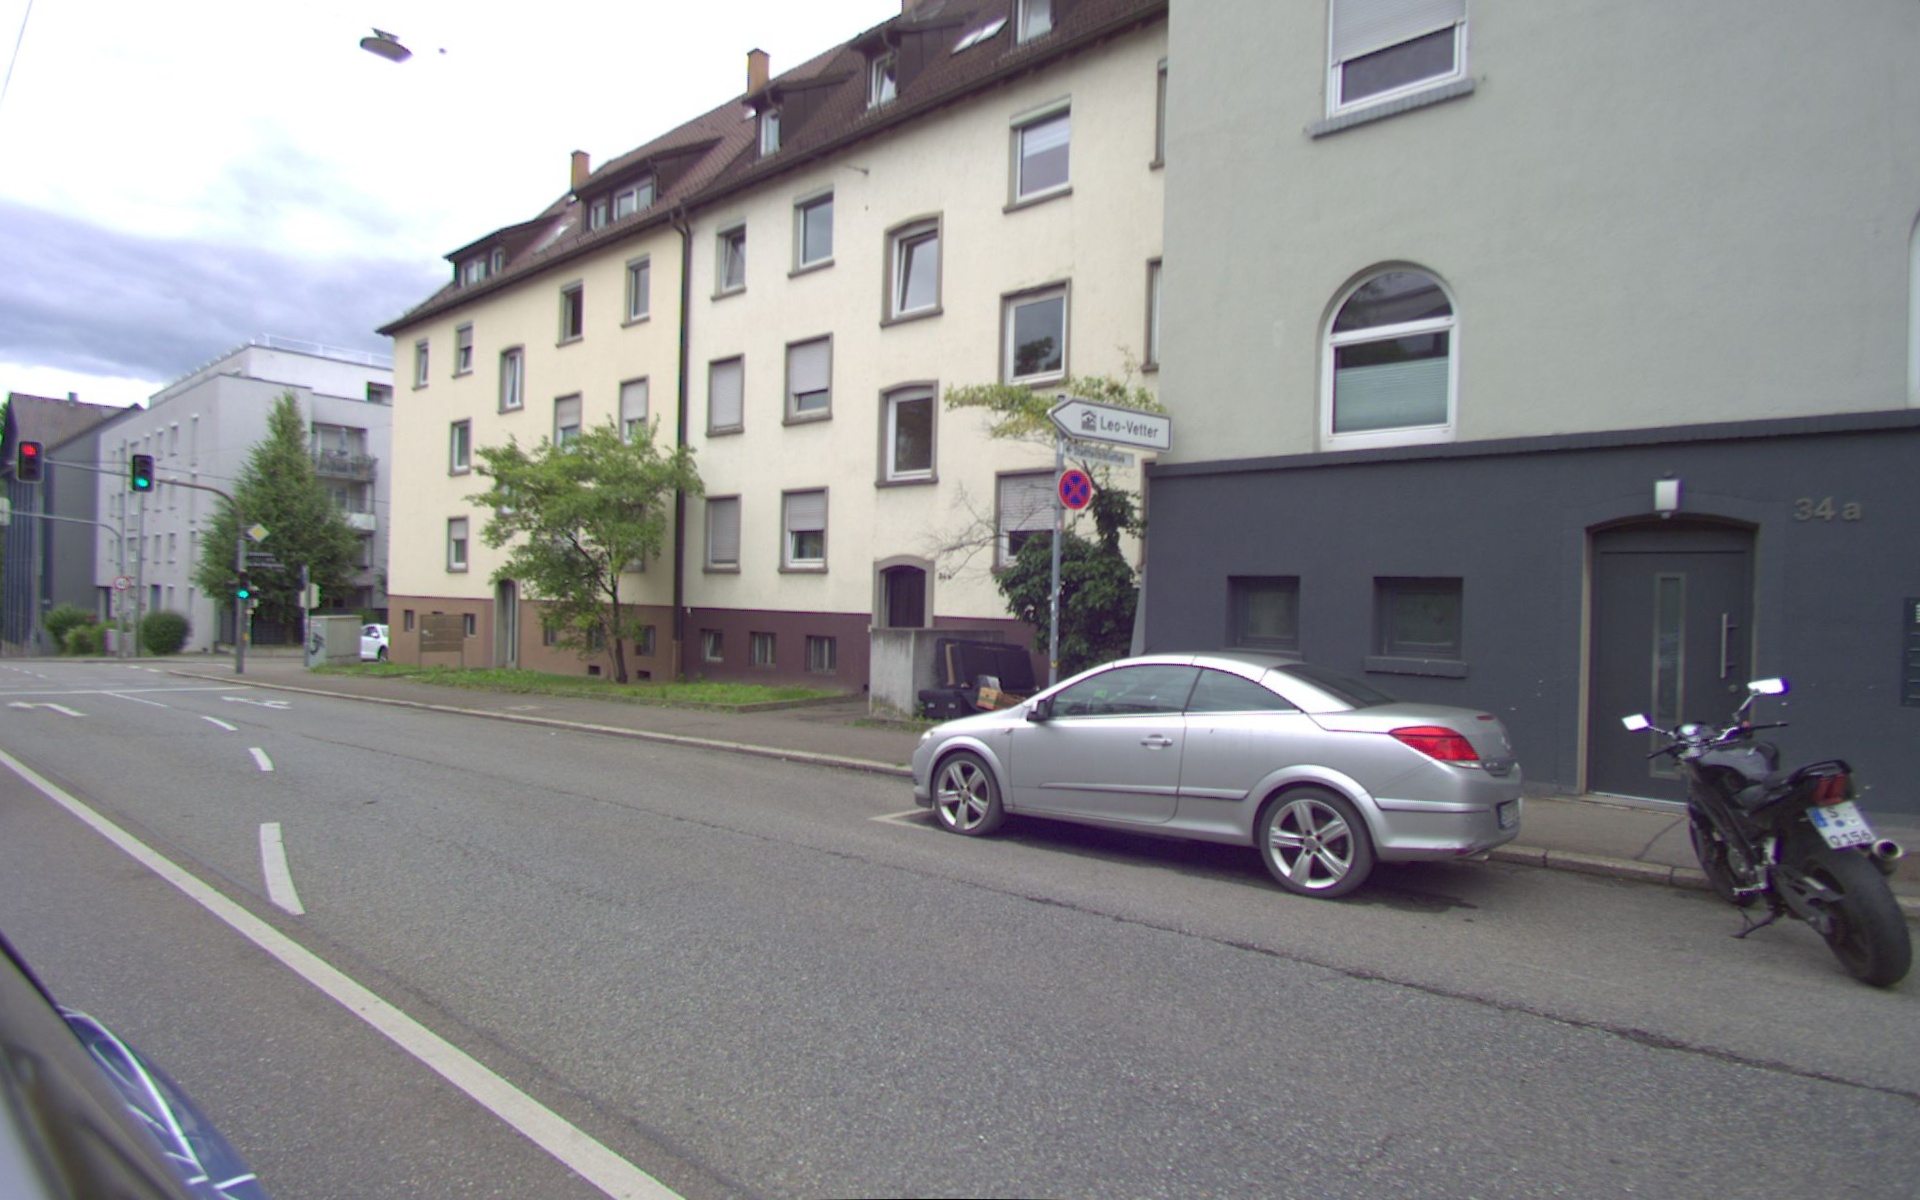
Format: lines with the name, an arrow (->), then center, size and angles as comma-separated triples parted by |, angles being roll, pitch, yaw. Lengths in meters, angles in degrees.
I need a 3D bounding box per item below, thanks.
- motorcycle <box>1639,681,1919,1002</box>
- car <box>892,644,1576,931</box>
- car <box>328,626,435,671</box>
motorcycle -> 4.126, 1.051, 5.065 | 0.802, 1.245, 2.031 | -1, -4, 23
car -> 1.676, 1.026, 7.116 | 4.333, 1.384, 1.709 | -2, -3, 40
car -> -21.134, 1.803, 36.929 | 4.252, 1.549, 1.797 | -3, -5, 37
